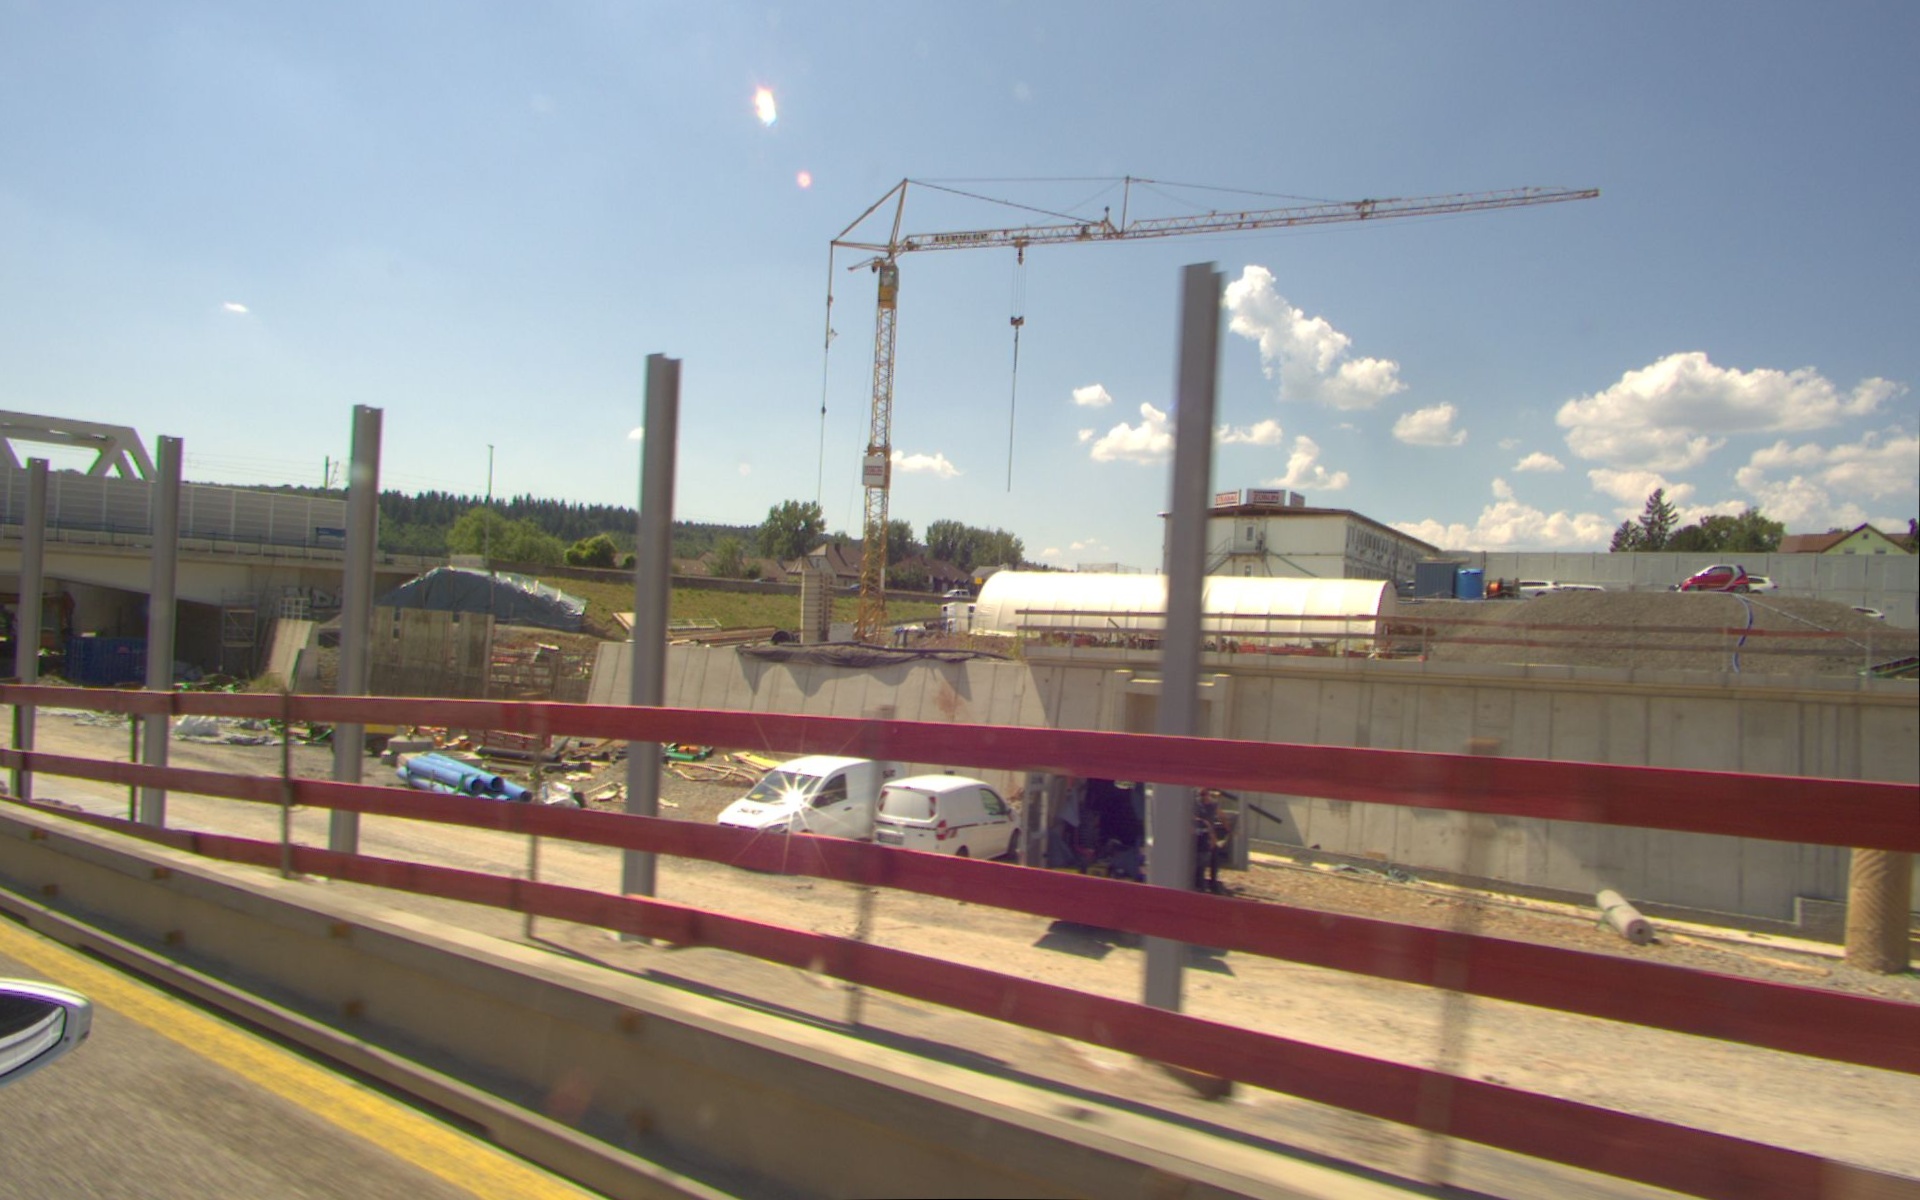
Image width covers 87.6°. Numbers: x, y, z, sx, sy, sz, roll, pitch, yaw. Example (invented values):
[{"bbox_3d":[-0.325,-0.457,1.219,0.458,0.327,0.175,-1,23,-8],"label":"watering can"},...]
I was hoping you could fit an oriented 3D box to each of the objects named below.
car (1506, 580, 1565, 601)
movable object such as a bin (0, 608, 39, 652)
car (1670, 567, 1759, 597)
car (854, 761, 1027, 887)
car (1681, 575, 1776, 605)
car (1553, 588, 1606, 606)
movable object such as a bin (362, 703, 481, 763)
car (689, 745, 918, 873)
[{"bbox_3d":[38.900,-0.620,67.688,3.380,1.297,1.512,0,-2,33],"label":"car"},{"bbox_3d":[-63.685,1.939,65.215,2.114,2.843,5.132,0,-2,36],"label":"movable object such as a bin"},{"bbox_3d":[37.090,-0.864,49.314,3.380,1.333,1.512,0,-2,33],"label":"car"},{"bbox_3d":[-0.266,4.214,19.414,1.739,1.689,3.761,2,-2,27],"label":"car"},{"bbox_3d":[42.280,-0.540,55.214,4.017,1.537,1.678,0,-2,33],"label":"car"},{"bbox_3d":[47.320,-0.247,76.536,3.380,1.297,1.512,0,-2,33],"label":"car"},{"bbox_3d":[-16.350,4.020,30.556,3.057,1.583,1.548,1,-1,-24],"label":"movable object such as a bin"},{"bbox_3d":[-3.037,4.125,20.554,1.971,1.796,4.723,2,-2,32],"label":"car"}]
